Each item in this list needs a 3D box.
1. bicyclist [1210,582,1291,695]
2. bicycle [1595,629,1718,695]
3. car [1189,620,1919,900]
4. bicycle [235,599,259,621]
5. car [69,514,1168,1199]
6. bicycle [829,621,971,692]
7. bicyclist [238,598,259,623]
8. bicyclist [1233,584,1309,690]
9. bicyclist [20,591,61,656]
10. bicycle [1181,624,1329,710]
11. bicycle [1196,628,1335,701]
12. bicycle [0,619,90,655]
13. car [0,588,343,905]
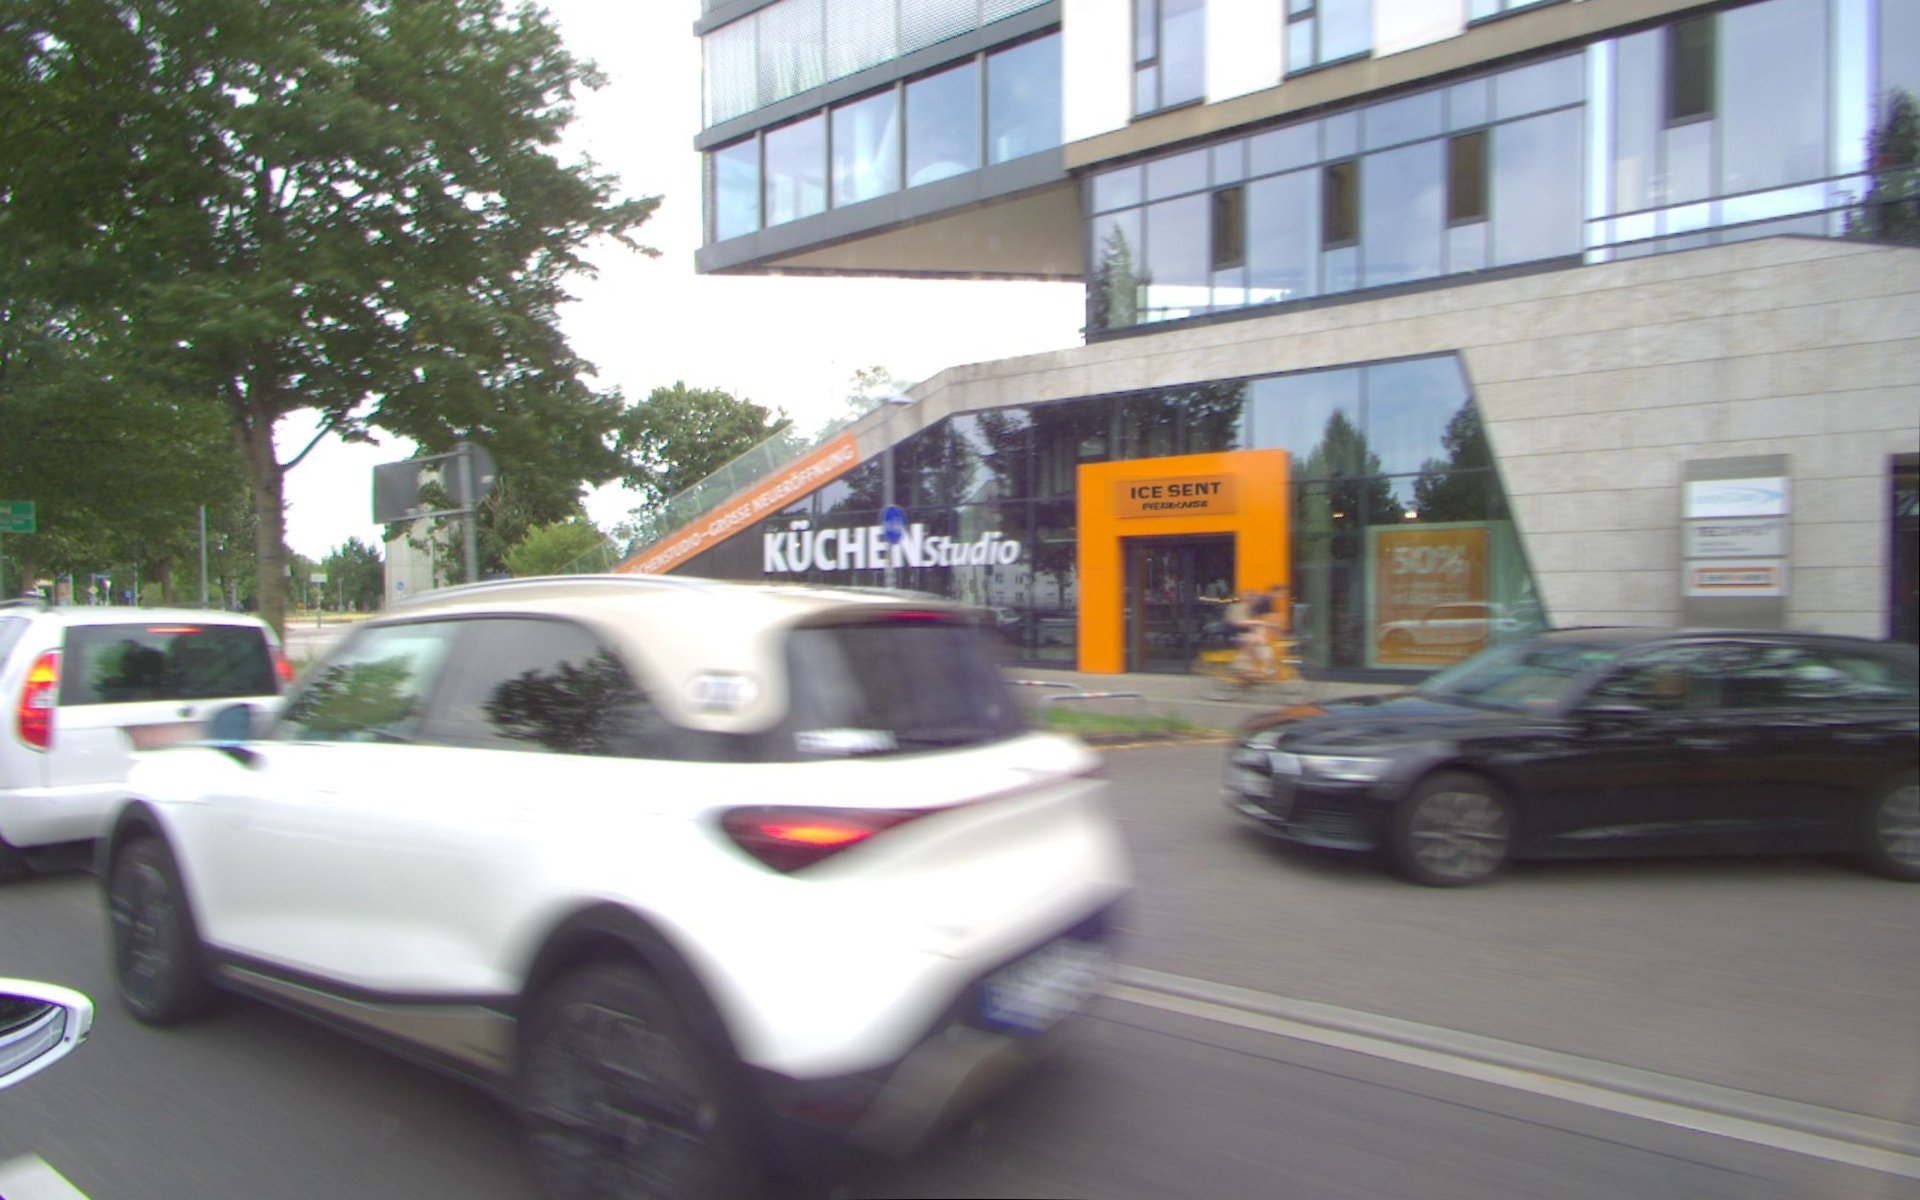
[{"bbox_3d":[4.292,0.551,14.792,0.975,1.604,0.723,0,2,32],"label":"bicyclist"},{"bbox_3d":[10.407,0.905,15.015,1.472,0.922,0.517,0,0,33],"label":"bicycle"},{"bbox_3d":[4.116,0.890,6.515,4.776,1.495,1.947,0,0,-3],"label":"car"},{"bbox_3d":[-52.278,0.732,73.409,1.980,1.524,0.703,-1,-2,34],"label":"bicycle"},{"bbox_3d":[-1.440,0.710,3.720,3.966,1.677,1.776,0,-2,33],"label":"car"},{"bbox_3d":[-0.905,0.809,14.857,2.075,0.968,0.629,0,0,28],"label":"bicycle"},{"bbox_3d":[-52.144,0.776,73.366,1.157,1.813,0.865,0,1,31],"label":"bicyclist"},{"bbox_3d":[4.880,0.558,15.686,0.975,1.604,0.723,0,2,32],"label":"bicyclist"},{"bbox_3d":[-27.305,0.686,29.729,0.723,1.911,0.727,1,1,32],"label":"bicyclist"},{"bbox_3d":[4.318,0.945,14.704,1.978,1.158,0.672,0,0,33],"label":"bicycle"},{"bbox_3d":[4.778,0.983,15.705,1.978,1.056,0.672,0,0,33],"label":"bicycle"},{"bbox_3d":[-27.312,1.090,29.903,0.556,0.997,1.930,1,0,31],"label":"bicycle"},{"bbox_3d":[-6.301,0.784,7.073,3.966,1.678,1.775,0,0,33],"label":"car"}]
